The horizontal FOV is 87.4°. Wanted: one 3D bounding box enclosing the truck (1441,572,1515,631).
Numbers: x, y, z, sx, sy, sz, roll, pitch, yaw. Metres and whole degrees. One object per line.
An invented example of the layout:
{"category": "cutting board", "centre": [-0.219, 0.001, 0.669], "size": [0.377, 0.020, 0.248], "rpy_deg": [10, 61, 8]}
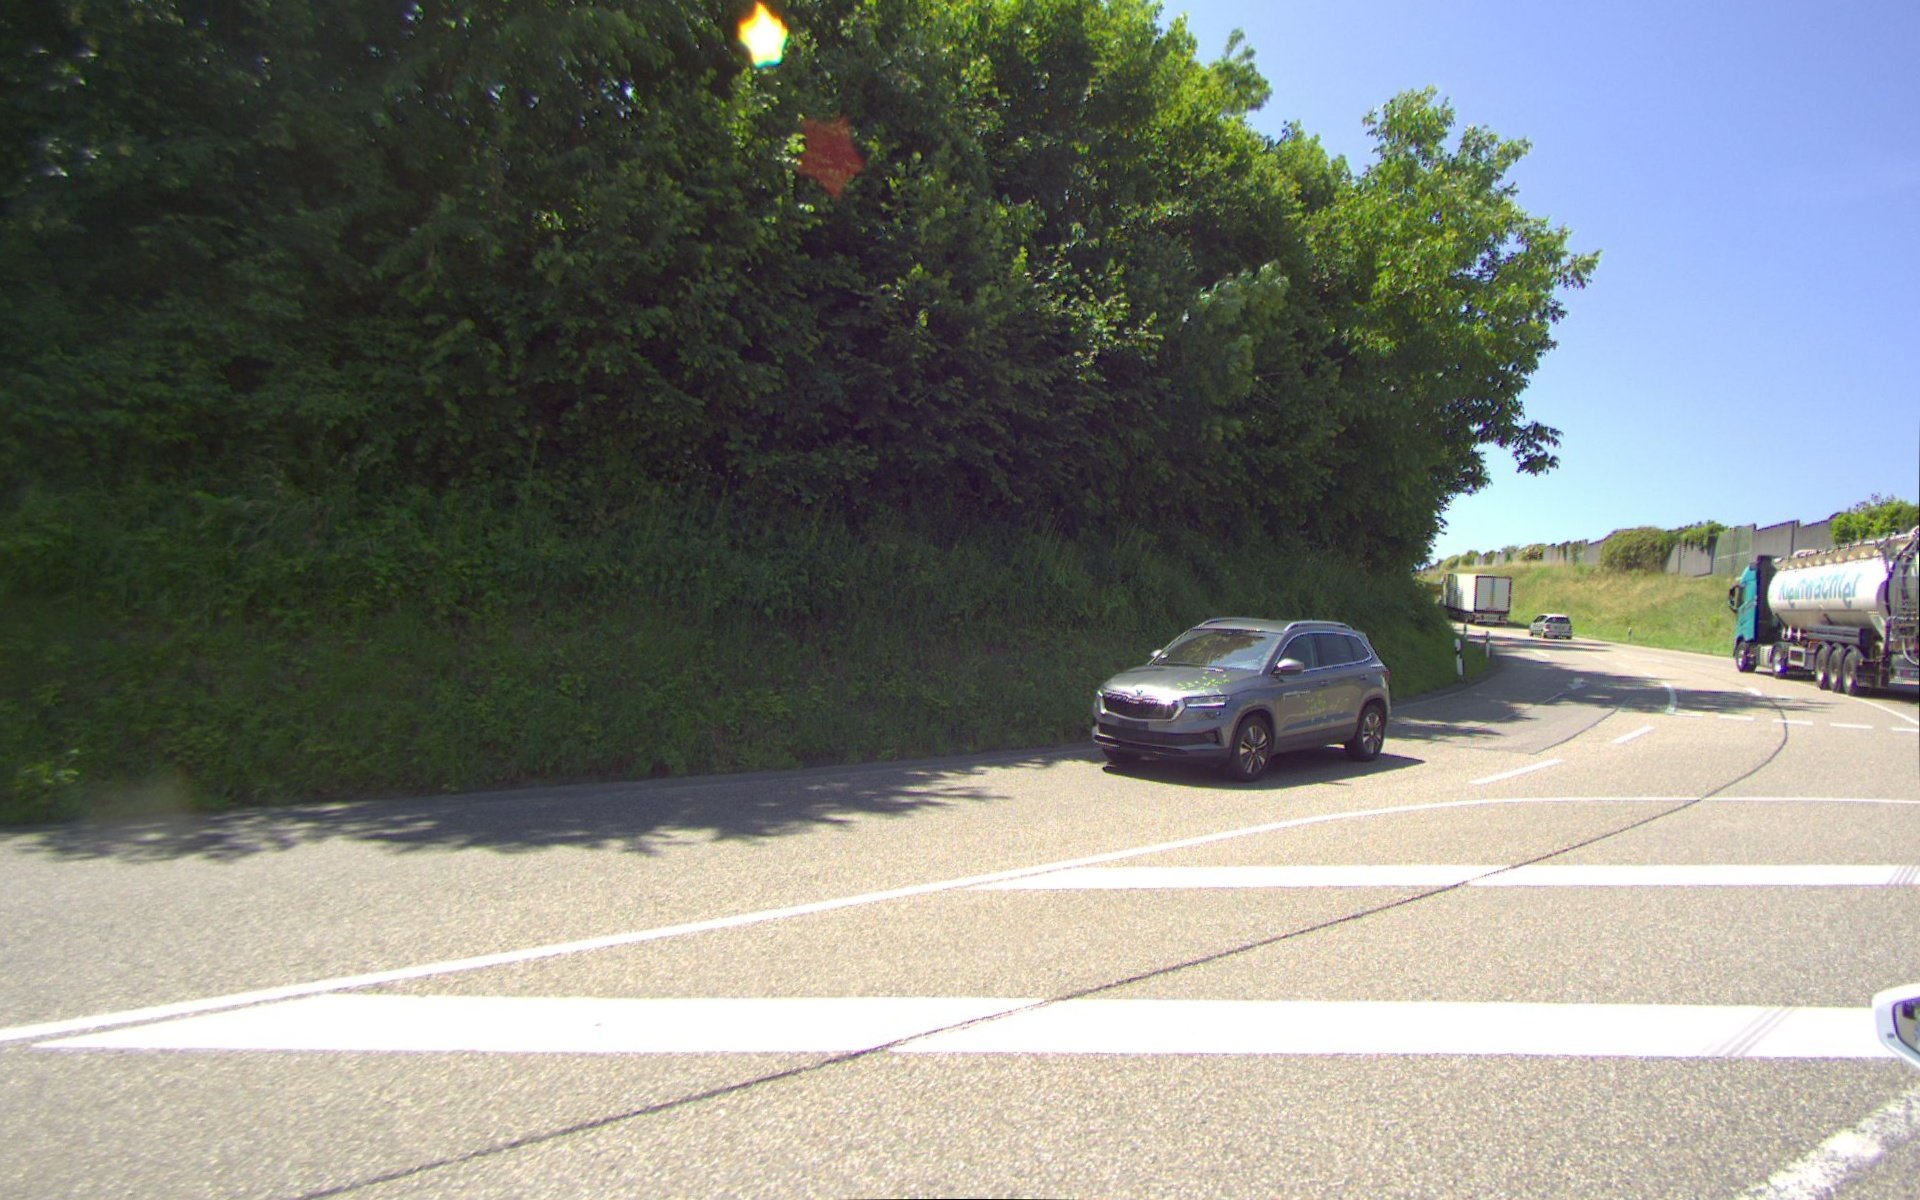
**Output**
{"category": "truck", "centre": [43.449, -0.022, 84.730], "size": [3.137, 4.367, 11.801], "rpy_deg": [5, 3, 17]}

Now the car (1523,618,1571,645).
{"category": "car", "centre": [38.002, 2.006, 65.119], "size": [1.620, 1.529, 3.640], "rpy_deg": [5, 1, 14]}

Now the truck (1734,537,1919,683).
{"category": "truck", "centre": [26.550, 0.314, 31.173], "size": [2.686, 3.982, 7.253], "rpy_deg": [1, 0, 27]}

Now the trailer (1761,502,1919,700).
{"category": "trailer", "centre": [23.992, 0.078, 26.461], "size": [2.622, 4.244, 11.882], "rpy_deg": [1, 0, 29]}

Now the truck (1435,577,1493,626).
{"category": "truck", "centre": [45.200, 0.097, 90.345], "size": [3.137, 3.986, 8.252], "rpy_deg": [4, 1, 18]}

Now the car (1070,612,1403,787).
{"category": "car", "centre": [3.284, 1.003, 11.448], "size": [4.151, 1.626, 1.774], "rpy_deg": [3, -2, -43]}
